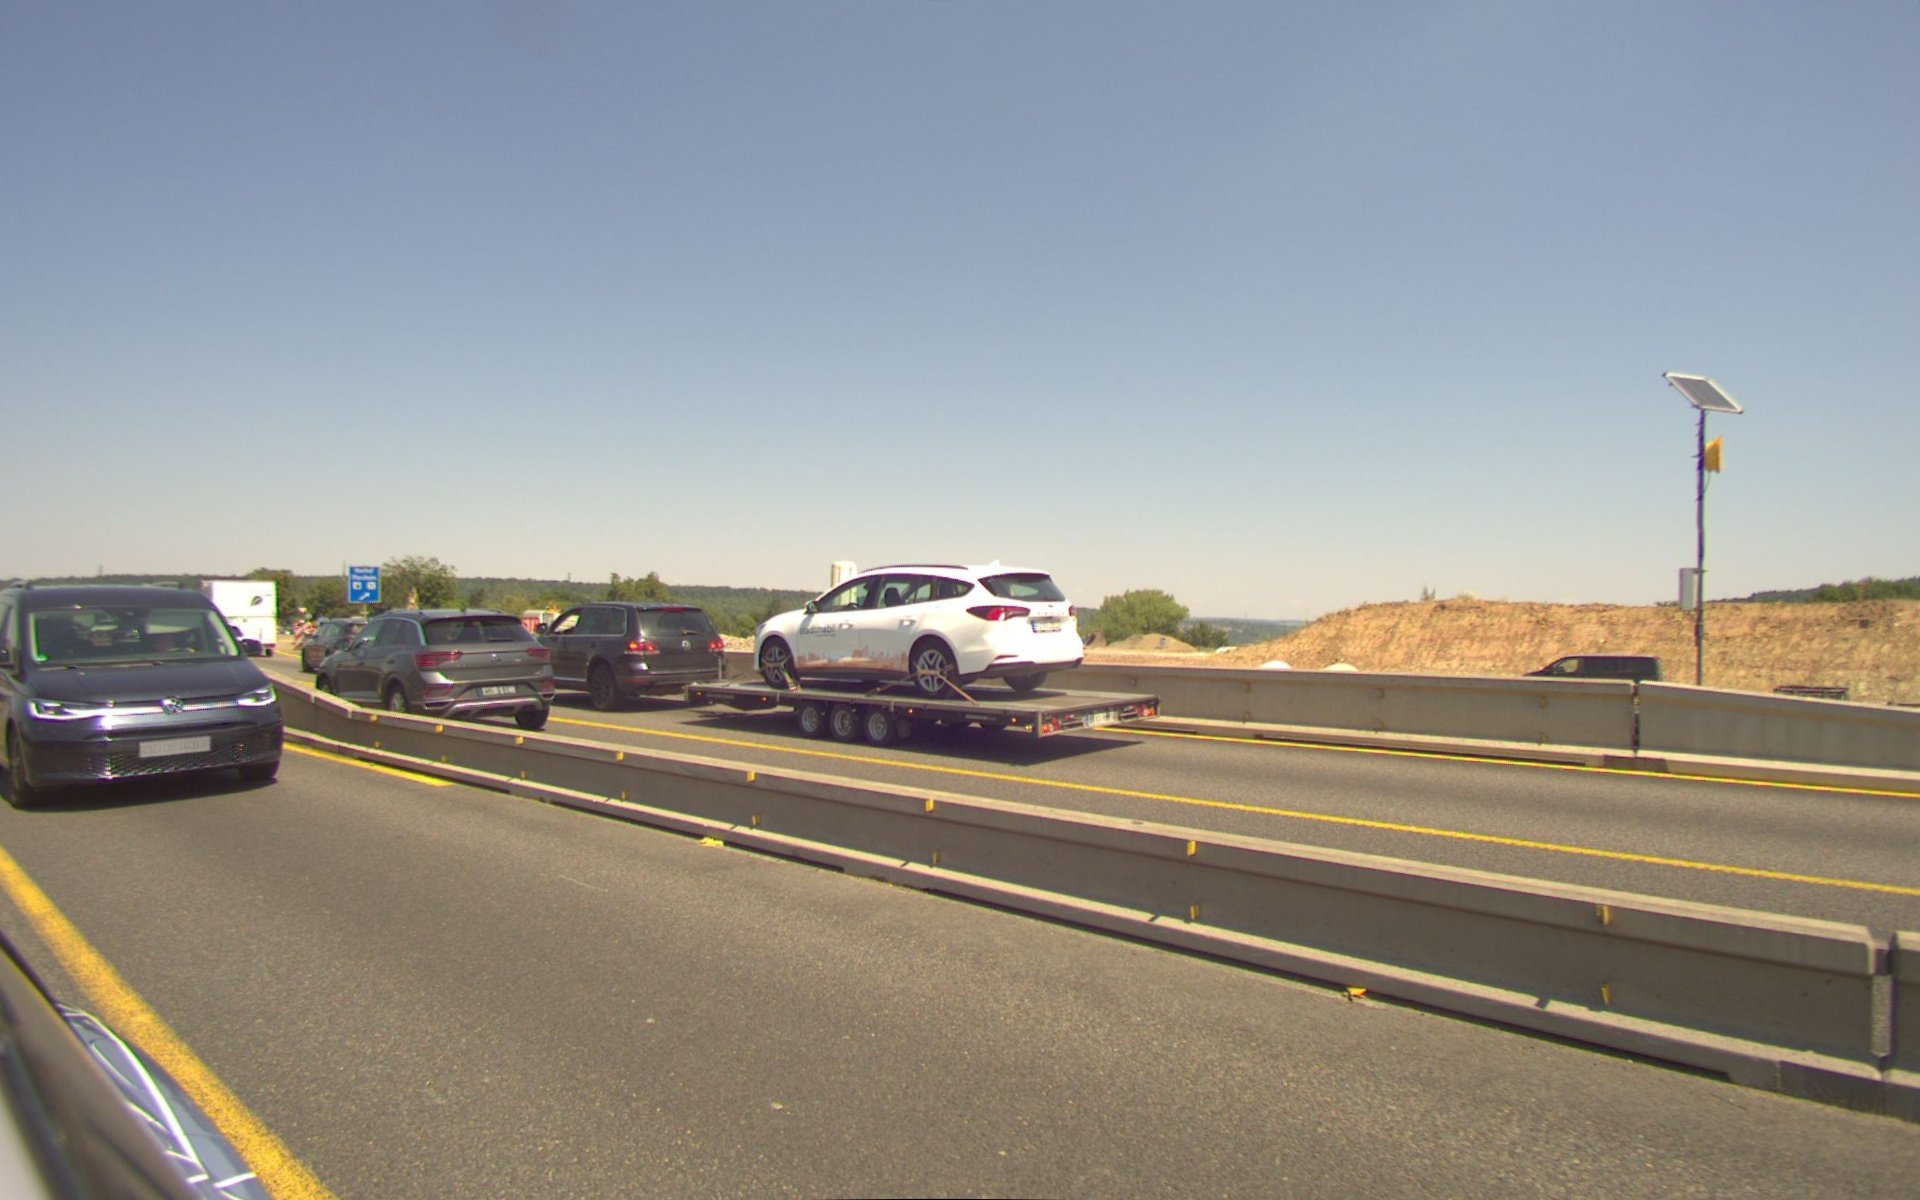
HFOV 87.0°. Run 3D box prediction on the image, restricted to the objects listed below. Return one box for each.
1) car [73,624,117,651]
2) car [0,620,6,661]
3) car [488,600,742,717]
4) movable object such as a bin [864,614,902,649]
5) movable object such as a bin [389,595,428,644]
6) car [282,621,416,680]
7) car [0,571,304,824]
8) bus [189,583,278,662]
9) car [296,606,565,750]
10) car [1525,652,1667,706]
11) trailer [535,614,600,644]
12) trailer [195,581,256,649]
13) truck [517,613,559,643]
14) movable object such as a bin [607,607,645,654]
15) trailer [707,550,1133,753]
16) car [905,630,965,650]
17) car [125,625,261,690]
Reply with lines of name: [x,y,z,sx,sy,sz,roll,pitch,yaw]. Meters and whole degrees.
car: [-48.095,2.071,56.254,1.786,1.425,4.404,1,-2,-41]
car: [-44.030,1.786,45.032,3.995,1.800,1.776,-1,-2,39]
car: [-5.843,0.890,16.815,4.714,1.692,1.903,-1,-1,41]
movable object such as a bin: [-7.127,2.882,93.025,1.965,3.165,4.500,1,-2,-26]
movable object such as a bin: [-51.879,1.860,95.391,2.883,4.362,9.356,1,-2,-27]
car: [-16.455,1.306,27.165,4.646,1.434,1.802,-1,-2,42]
car: [-7.935,0.731,9.465,4.602,1.803,1.900,-1,-1,42]
bus: [-31.466,0.990,43.734,2.321,3.149,7.237,1,-2,-42]
car: [-6.984,0.916,13.174,4.131,1.591,1.677,-1,-2,40]
car: [25.440,3.095,40.575,4.561,1.939,1.973,-1,-2,41]
trailer: [-40.103,2.938,103.427,2.880,3.020,5.509,-1,-2,39]
trailer: [-49.438,1.069,68.381,2.723,4.146,14.014,1,-2,-34]
truck: [-44.240,2.971,106.002,4.260,3.066,2.317,-1,-2,39]
movable object such as a bin: [-23.418,2.131,70.816,1.965,3.165,4.291,1,-2,-26]
trailer: [-0.670,0.611,12.478,5.231,1.997,2.108,-2,-4,41]
car: [-1.889,2.936,74.315,4.440,1.420,1.596,-1,-2,38]
car: [-19.251,1.377,25.327,4.632,1.466,1.797,-1,-2,41]
